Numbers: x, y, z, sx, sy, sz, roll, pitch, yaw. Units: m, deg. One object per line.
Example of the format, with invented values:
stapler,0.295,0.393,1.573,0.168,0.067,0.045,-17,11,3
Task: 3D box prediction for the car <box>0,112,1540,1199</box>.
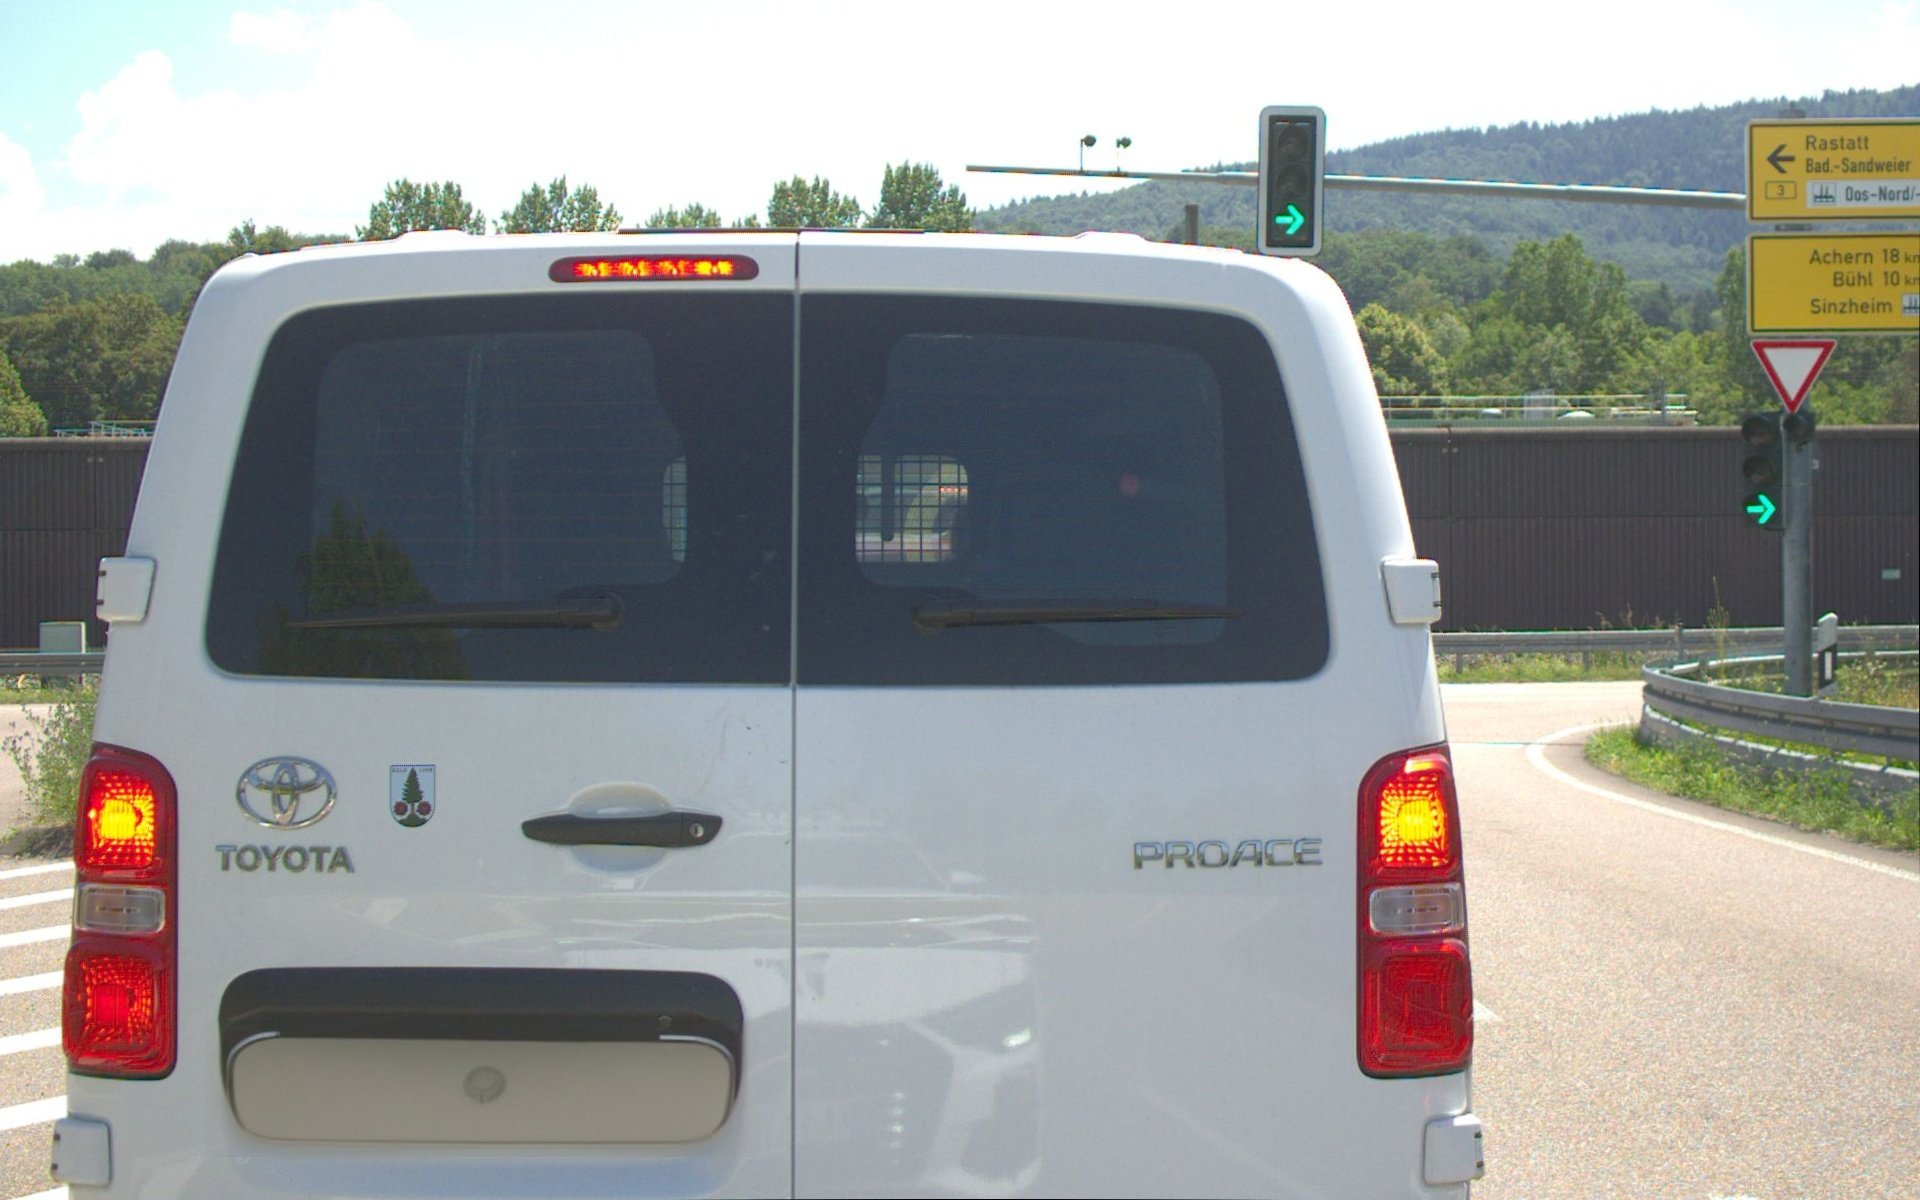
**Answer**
car,-0.271,0.431,5.932,1.814,2.011,4.000,0,1,-1
